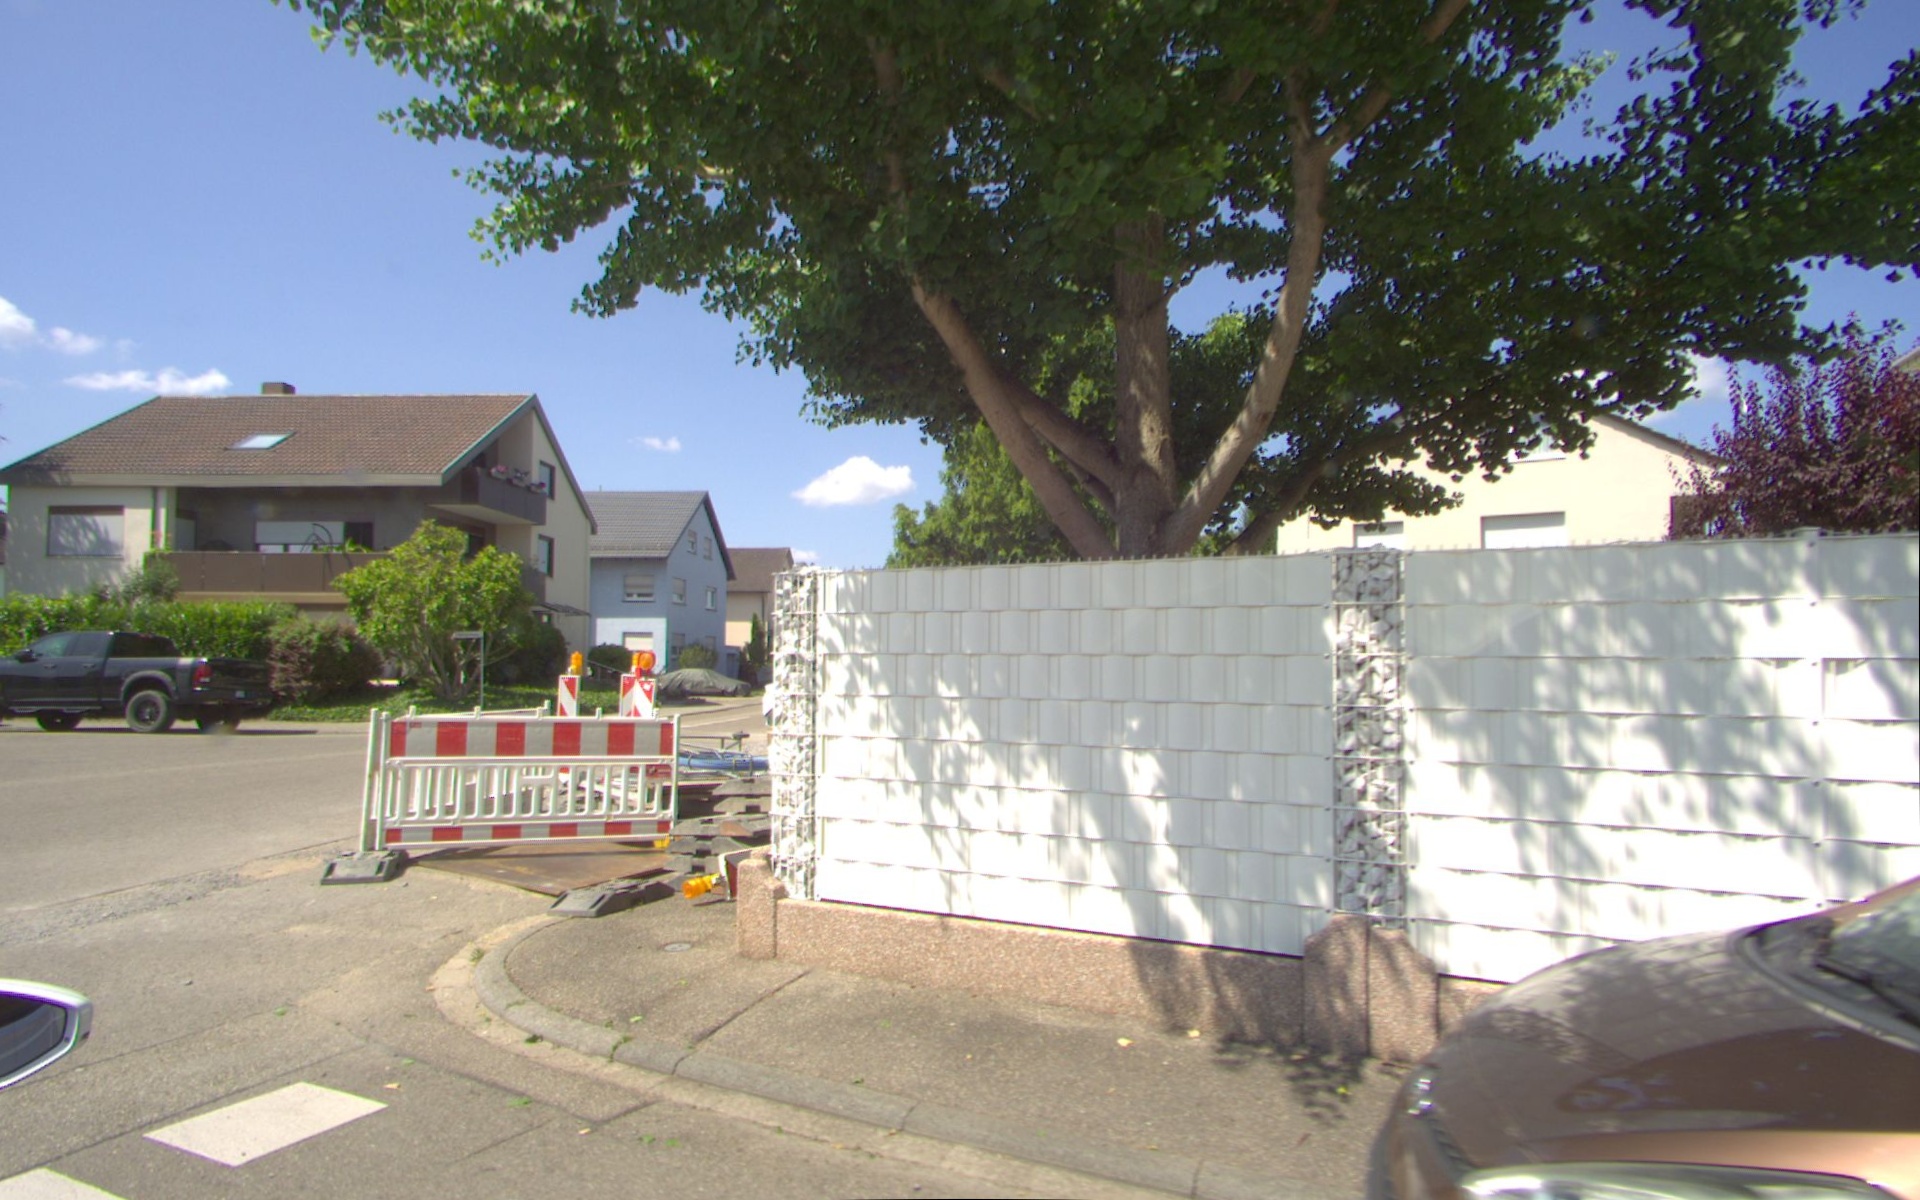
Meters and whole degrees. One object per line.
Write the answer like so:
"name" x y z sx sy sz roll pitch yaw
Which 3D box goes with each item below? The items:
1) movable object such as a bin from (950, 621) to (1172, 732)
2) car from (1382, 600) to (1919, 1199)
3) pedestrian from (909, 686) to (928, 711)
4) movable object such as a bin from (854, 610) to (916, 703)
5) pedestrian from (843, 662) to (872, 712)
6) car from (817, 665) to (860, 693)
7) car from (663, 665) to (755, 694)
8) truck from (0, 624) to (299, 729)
"movable object such as a bin" 2.449 1.906 24.881 5.162 2.480 1.991 -2 -6 35
"car" 2.672 0.849 1.202 3.968 1.549 1.716 -1 -7 24
"pedestrian" -1.389 3.290 33.367 0.513 0.803 0.431 1 -3 -18
"movable object such as a bin" -3.029 2.338 41.047 1.961 3.609 3.819 1 -3 4
"pedestrian" -3.197 2.701 31.308 0.526 1.532 0.845 2 -4 -38
"car" -7.020 4.541 58.027 1.883 1.560 4.004 1 -4 2
"car" -12.147 3.845 48.572 3.922 1.358 2.002 1 -3 1
"truck" -17.532 1.587 21.091 5.601 2.038 2.373 1 -3 0
